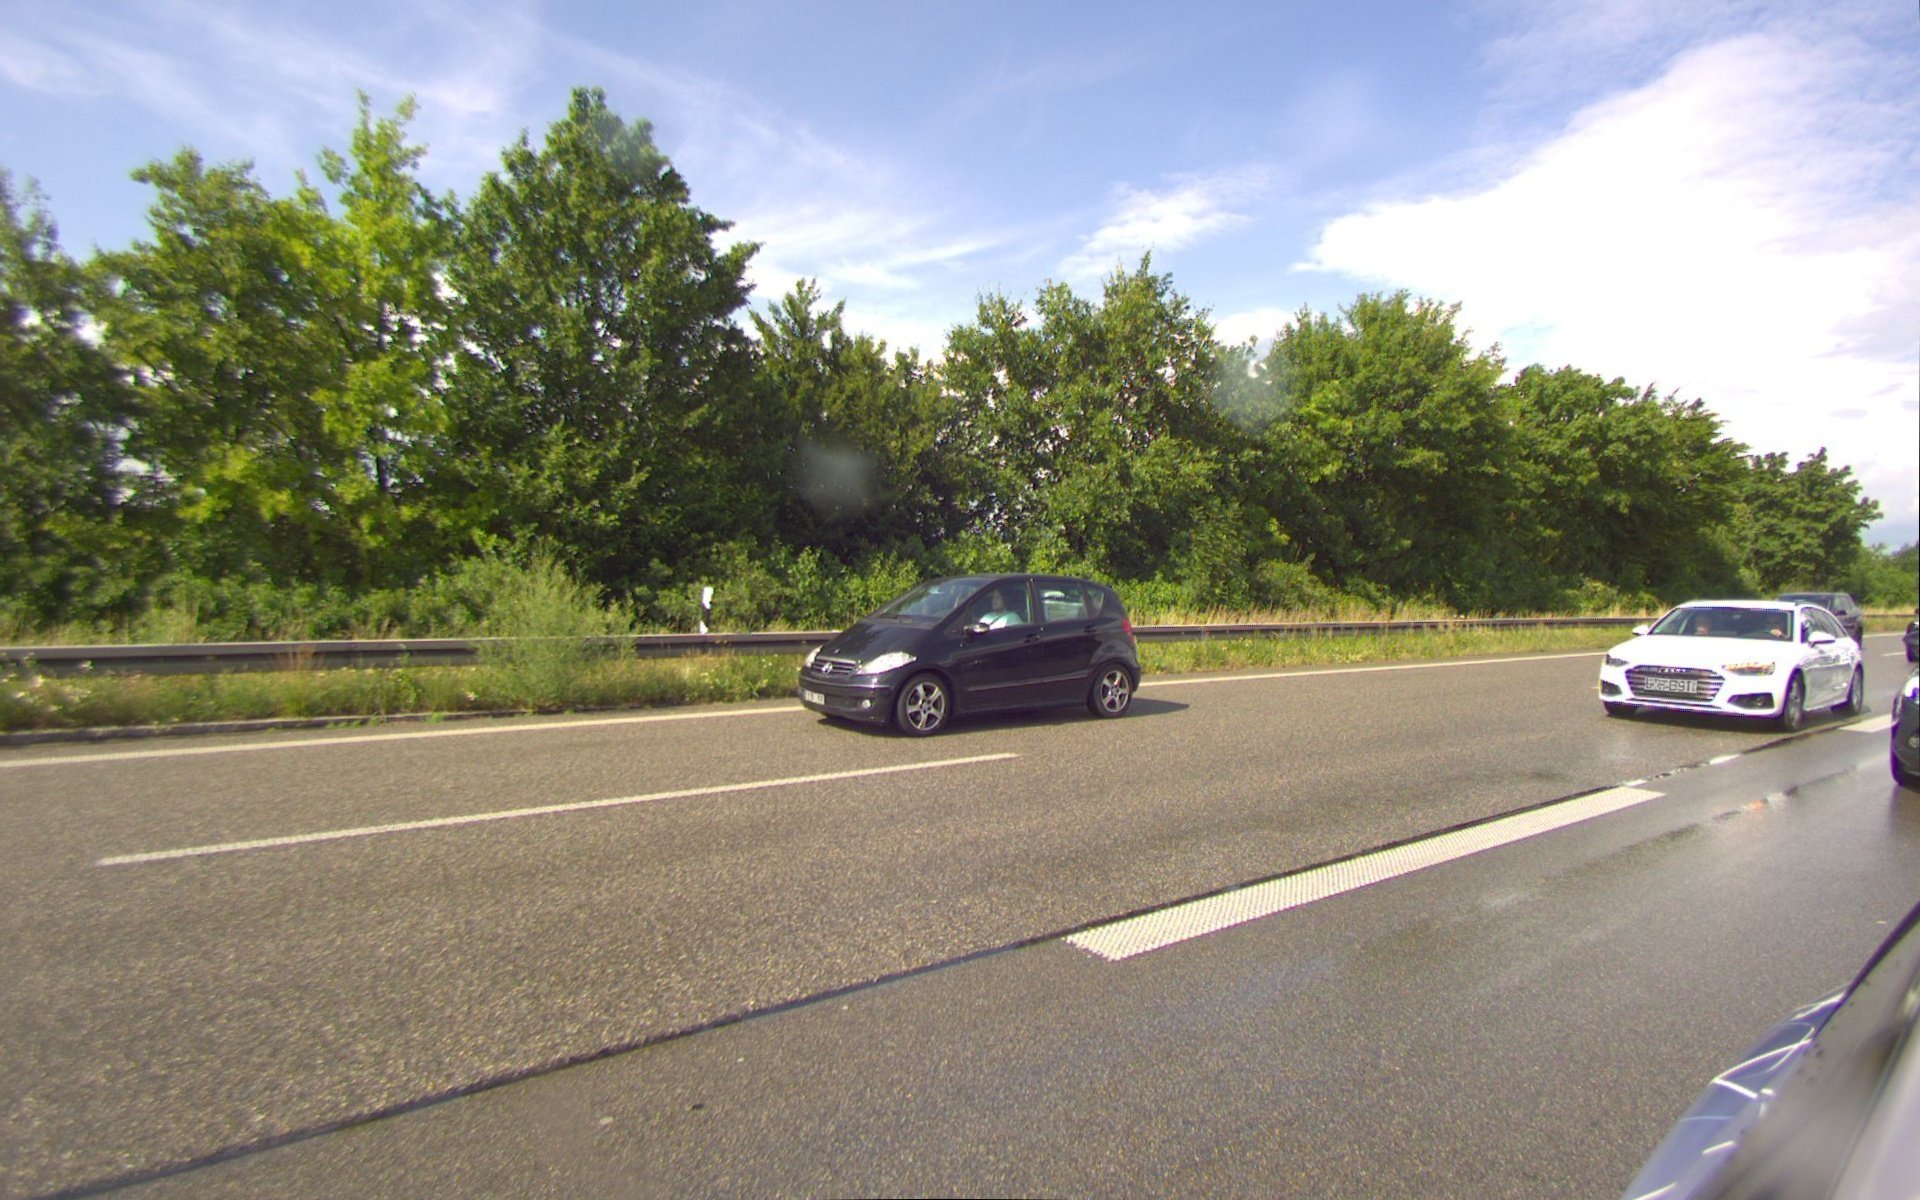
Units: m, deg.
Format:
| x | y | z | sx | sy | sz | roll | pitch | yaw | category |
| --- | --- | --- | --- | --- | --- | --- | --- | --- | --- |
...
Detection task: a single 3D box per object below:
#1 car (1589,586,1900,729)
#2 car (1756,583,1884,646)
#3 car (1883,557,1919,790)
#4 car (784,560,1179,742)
| x | y | z | sx | sy | sz | roll | pitch | yaw | category |
| --- | --- | --- | --- | --- | --- | --- | --- | --- | --- |
| 9.622 | 0.559 | 12.296 | 4.426 | 1.443 | 1.832 | 0 | 1 | -36 | car |
| 24.081 | 0.363 | 28.296 | 4.283 | 1.641 | 1.826 | 0 | 1 | -37 | car |
| 9.038 | 0.543 | 7.940 | 4.315 | 1.668 | 1.884 | 0 | 1 | -37 | car |
| 0.317 | 0.409 | 10.842 | 3.926 | 1.588 | 1.854 | 0 | 2 | -37 | car |
